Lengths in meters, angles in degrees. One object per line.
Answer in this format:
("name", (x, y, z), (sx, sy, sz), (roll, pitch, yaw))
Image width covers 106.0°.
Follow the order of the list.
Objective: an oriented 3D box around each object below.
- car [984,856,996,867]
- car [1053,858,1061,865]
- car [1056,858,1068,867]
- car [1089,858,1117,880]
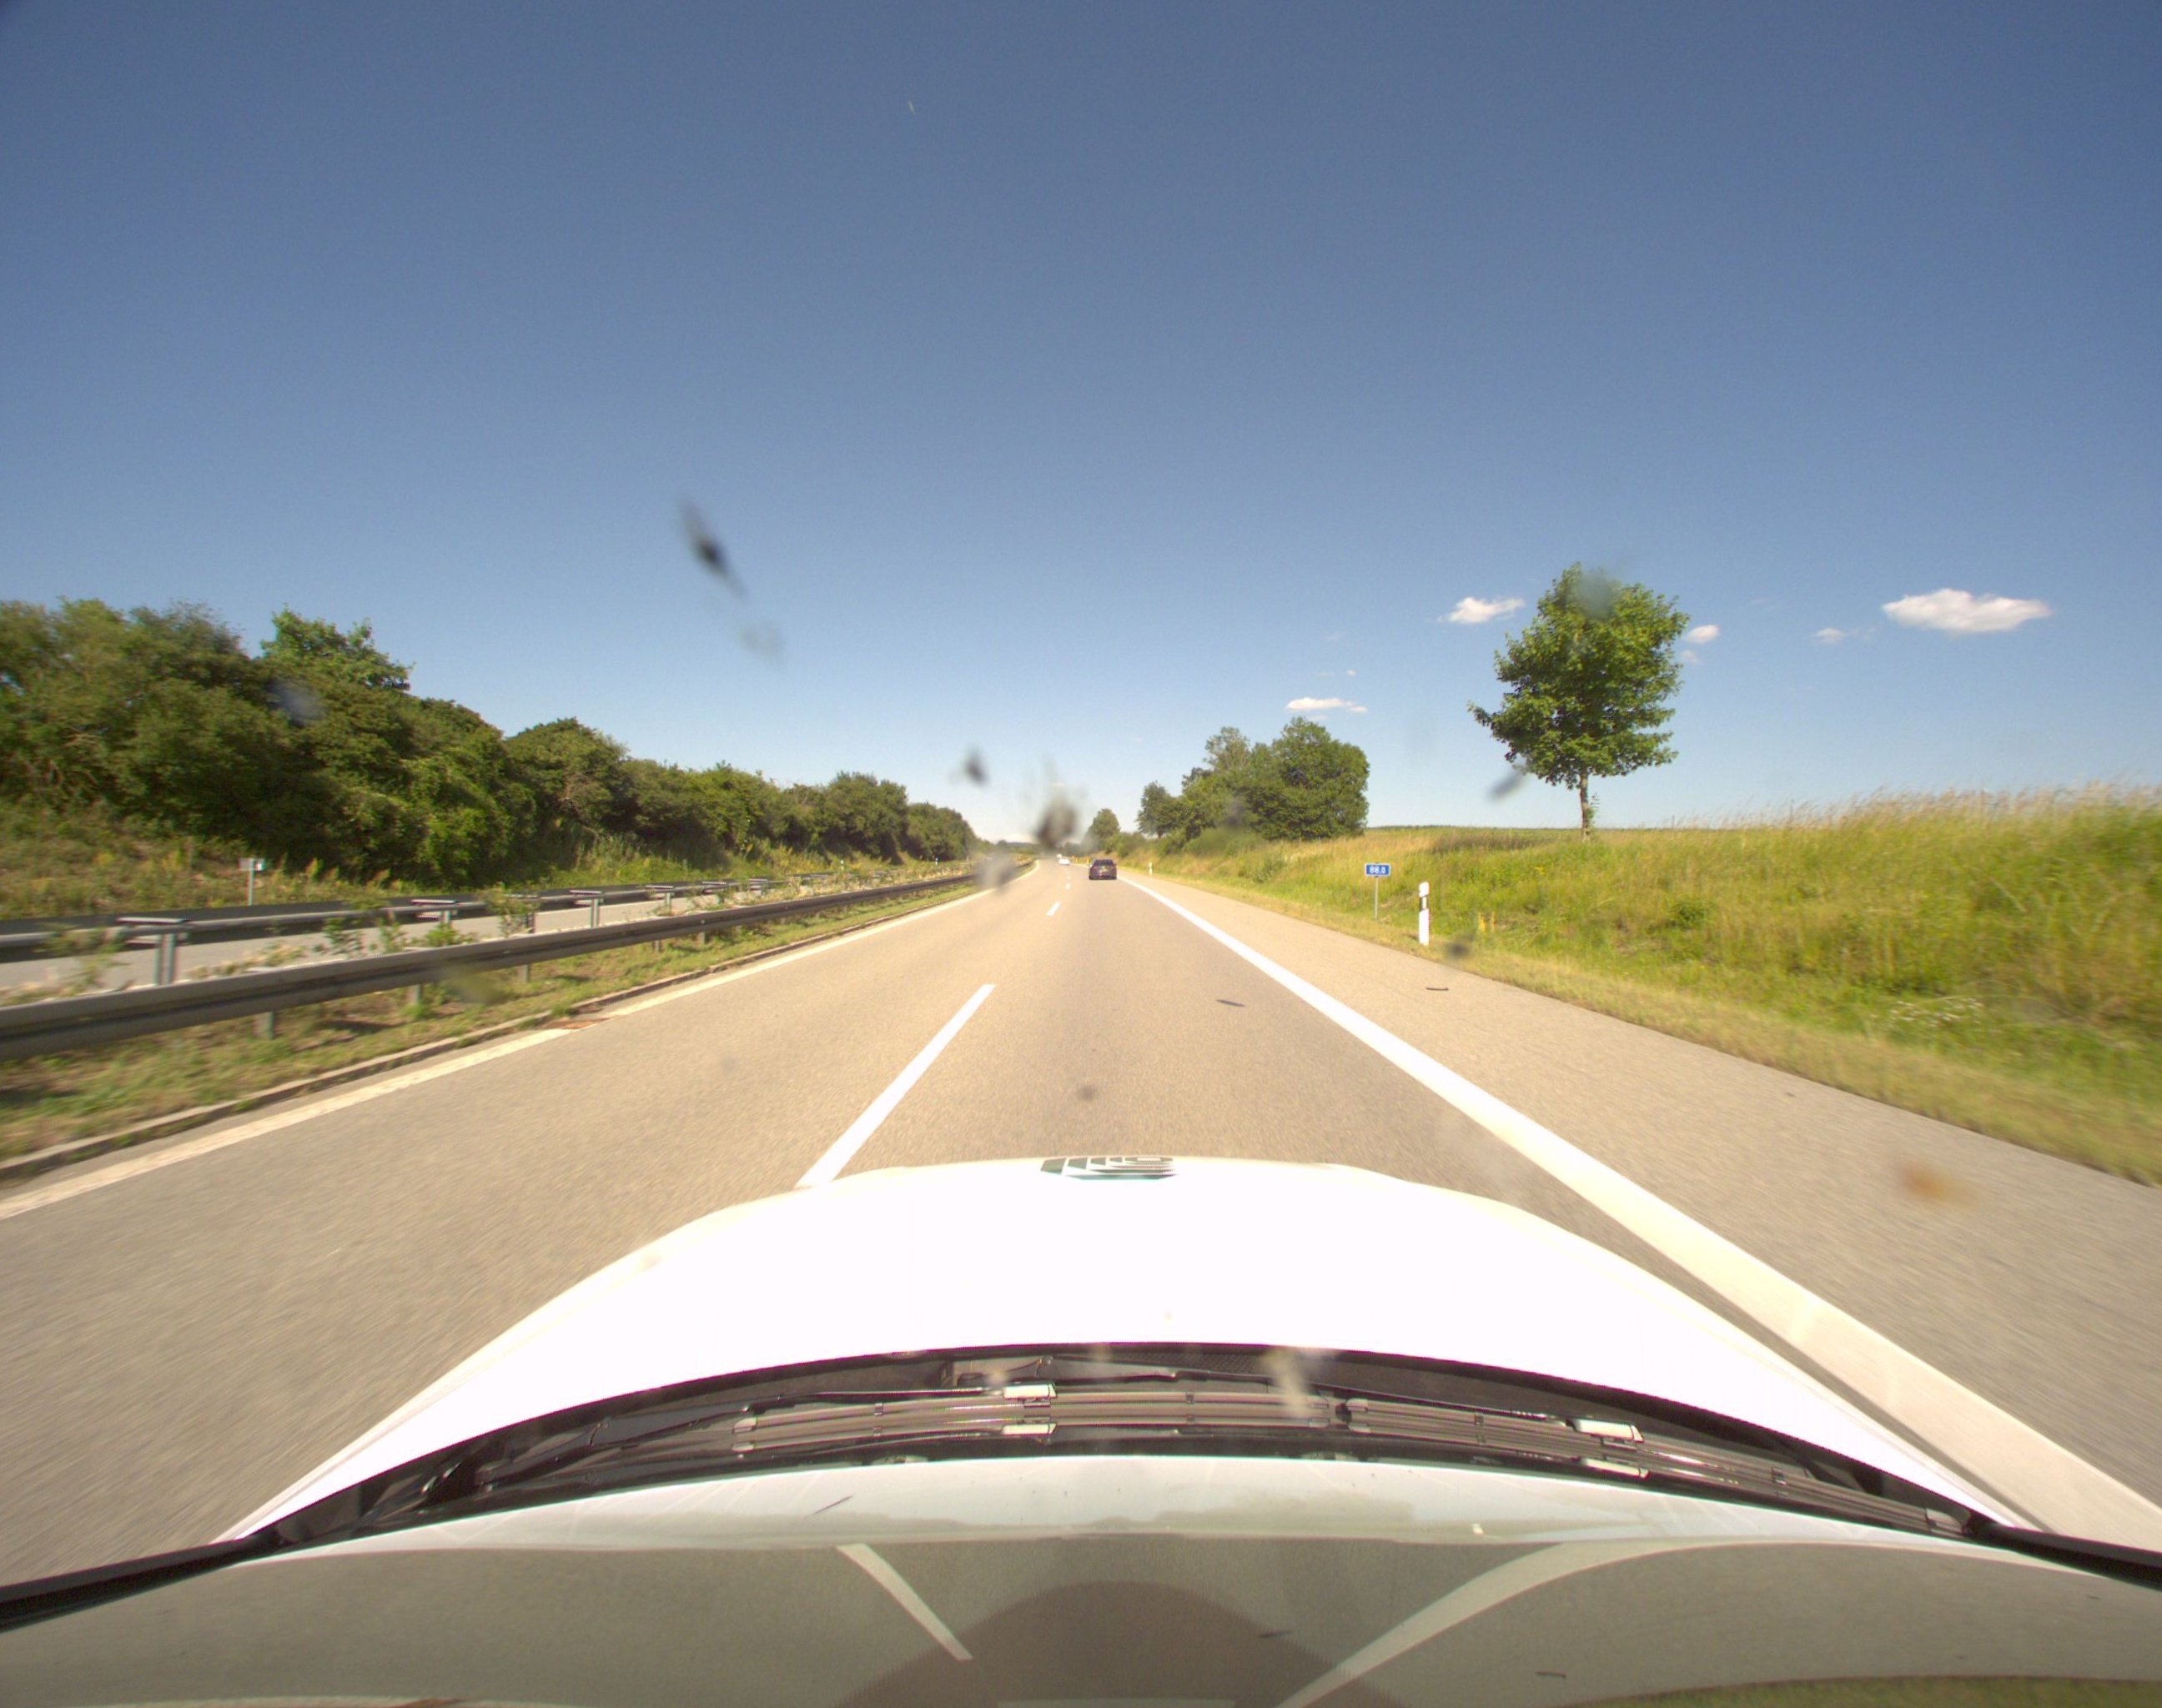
("car", (-17.817, 1.428, 159.317), (1.988, 2.014, 4.852), (0, 0, -1))
("car", (-5.655, 1.690, 191.572), (1.705, 1.387, 3.354), (5, -1, 0))
("car", (-3.269, 1.458, 138.586), (2.002, 1.344, 3.997), (2, -1, -2))
("car", (1.447, 0.987, 54.820), (1.785, 1.344, 3.999), (-1, -1, 0))
